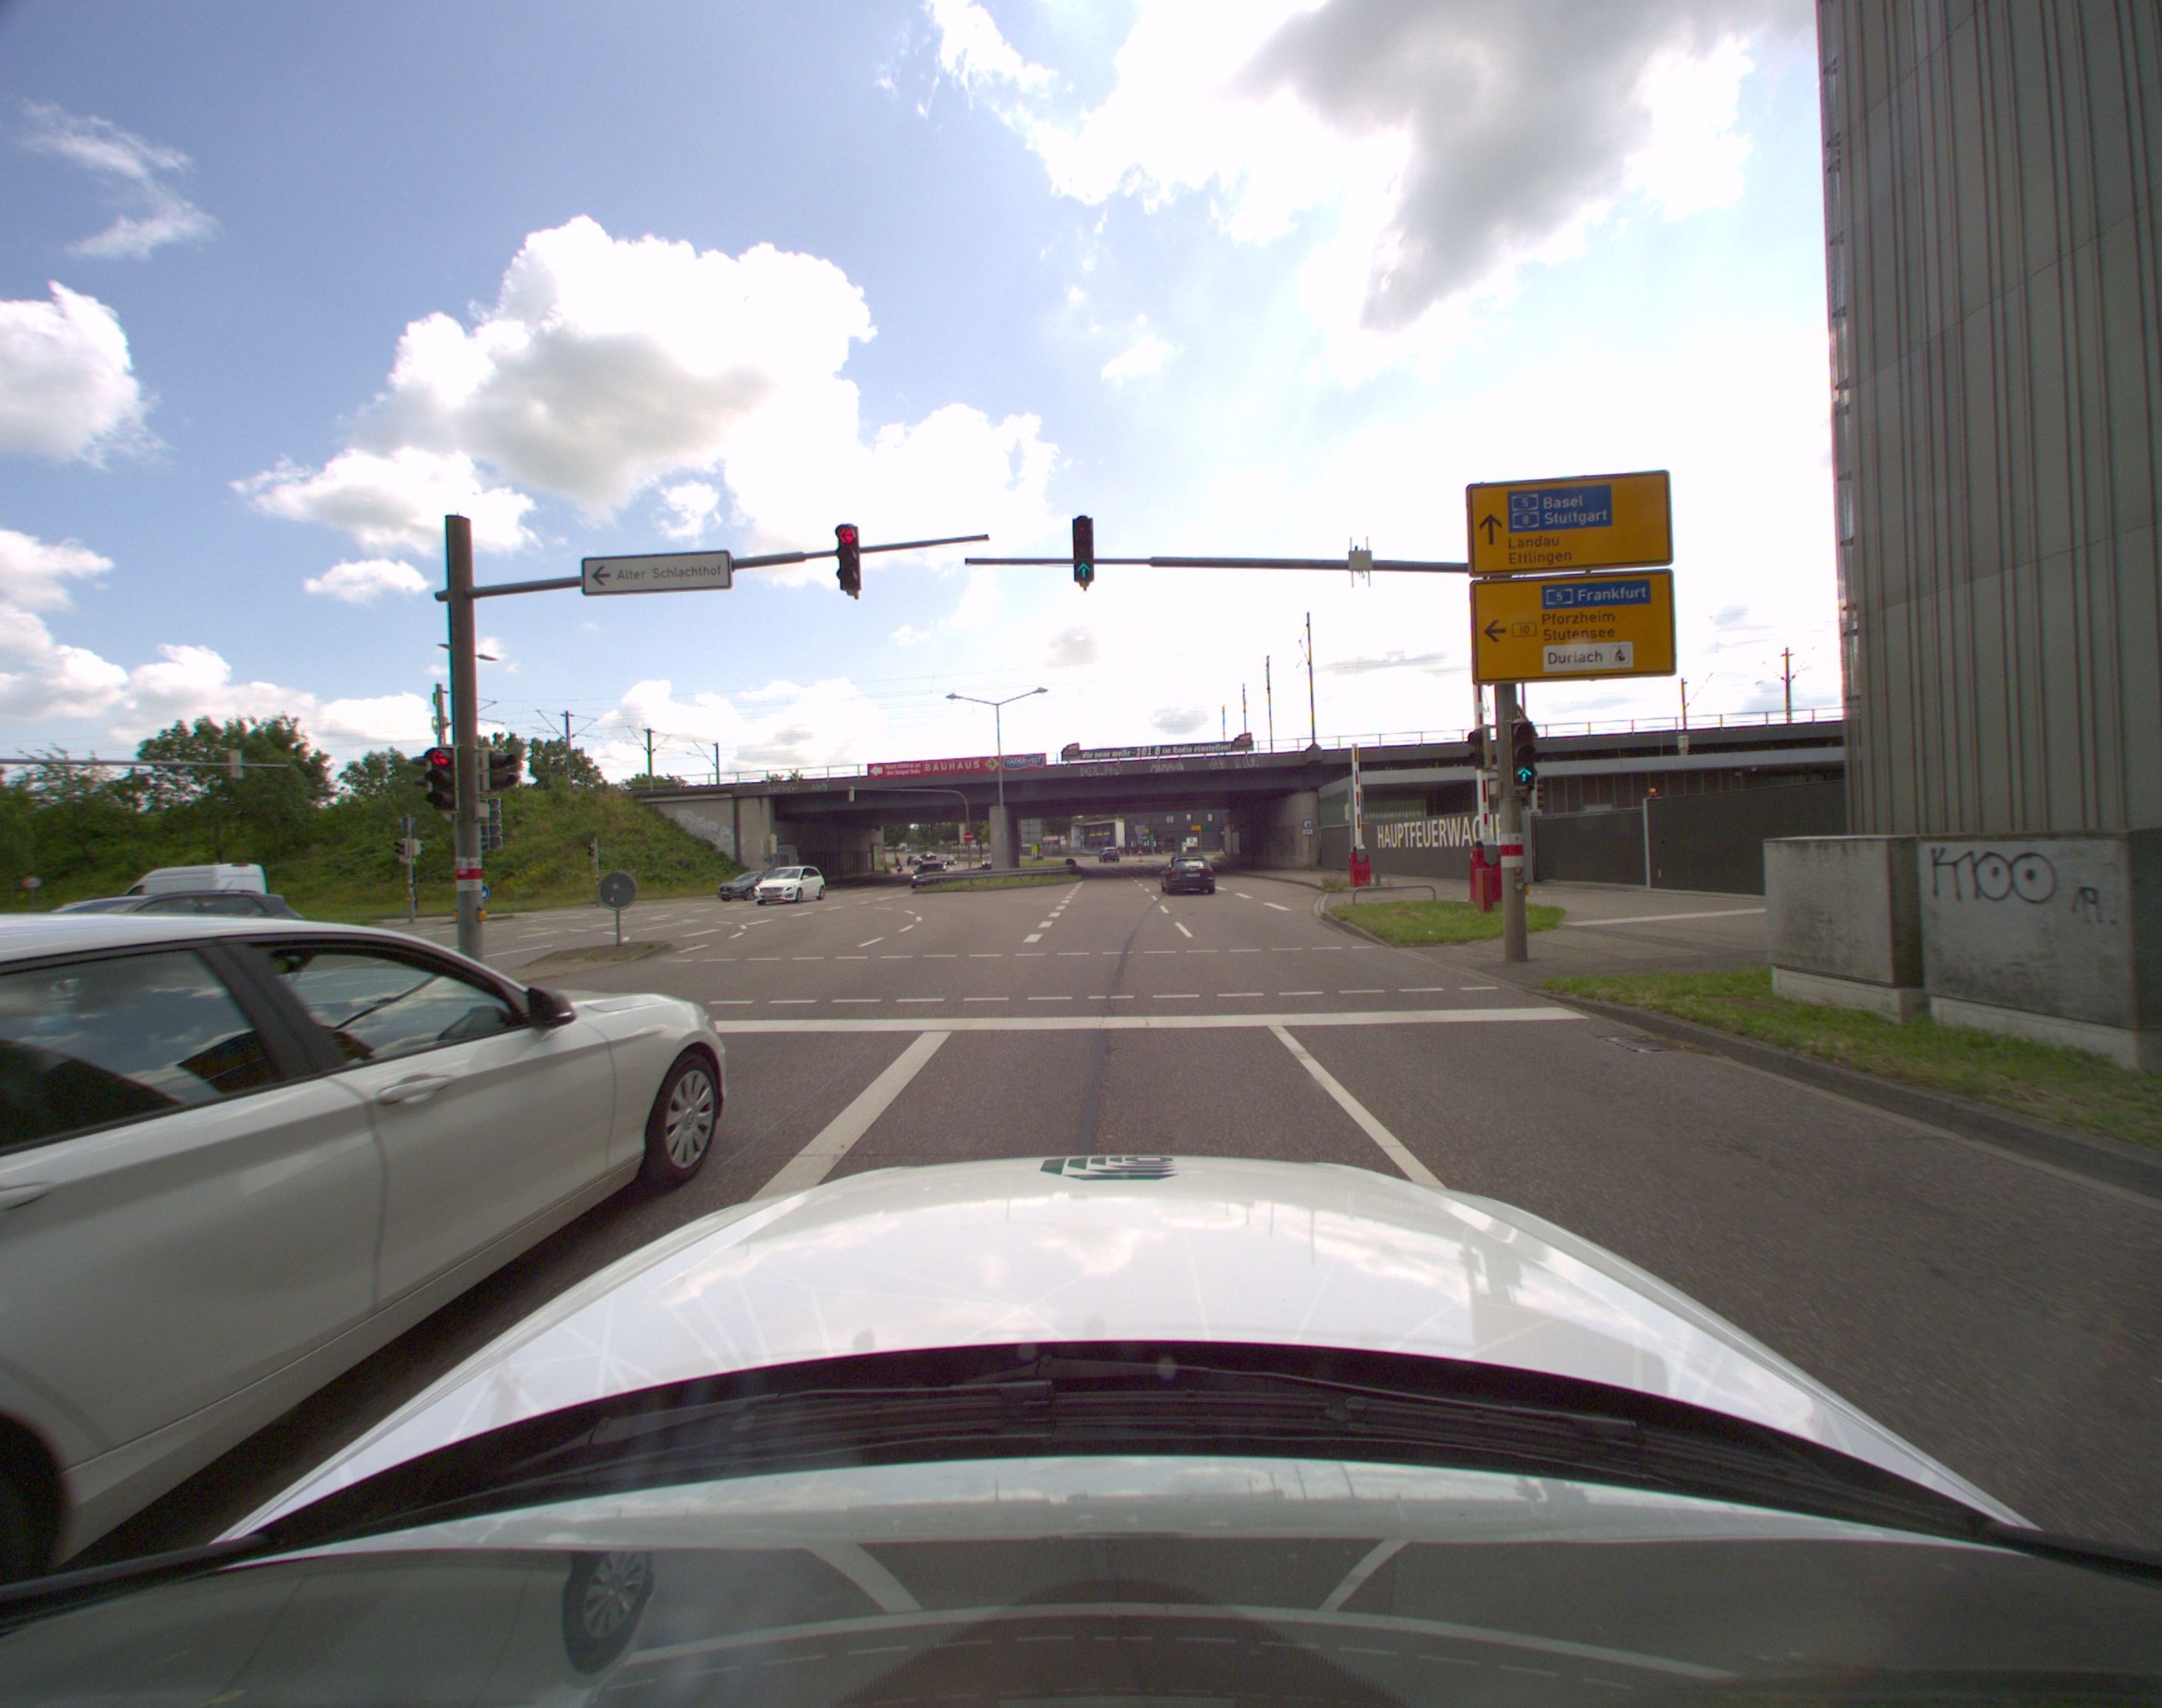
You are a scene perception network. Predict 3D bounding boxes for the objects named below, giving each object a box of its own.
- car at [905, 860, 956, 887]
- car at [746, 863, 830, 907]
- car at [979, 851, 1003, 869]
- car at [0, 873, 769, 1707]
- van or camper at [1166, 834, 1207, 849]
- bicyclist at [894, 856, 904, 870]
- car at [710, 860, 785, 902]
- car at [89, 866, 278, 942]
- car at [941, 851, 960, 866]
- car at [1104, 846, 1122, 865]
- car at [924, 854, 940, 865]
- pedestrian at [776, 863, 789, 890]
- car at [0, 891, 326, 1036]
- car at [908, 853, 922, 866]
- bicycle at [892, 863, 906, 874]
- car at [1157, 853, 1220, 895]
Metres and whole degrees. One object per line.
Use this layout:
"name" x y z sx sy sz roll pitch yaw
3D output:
"car" -9.139 1.165 49.733 1.966 1.389 4.783 -4 0 2
"car" -12.560 1.276 35.215 1.798 1.632 4.396 -3 0 3
"car" -9.694 0.632 88.351 1.987 1.758 4.716 -3 0 0
"car" -2.810 0.832 2.504 1.908 1.415 4.297 0 0 2
"van or camper" 15.677 -1.899 121.143 6.275 2.172 2.103 -1 0 -35
"bicyclist" -19.339 0.946 86.578 0.677 1.408 0.927 -1 0 9
"car" -17.708 1.384 43.417 1.984 2.013 4.005 -3 0 5
"car" -38.147 2.065 34.724 5.376 2.821 2.389 -3 0 2
"car" -19.747 0.672 123.521 1.987 2.013 4.337 -3 0 1
"car" 3.677 0.177 93.107 1.986 2.037 4.716 -3 0 2
"car" -27.481 0.985 150.161 1.987 2.013 4.337 -3 0 1
"pedestrian" -19.791 1.488 53.983 0.589 1.681 0.556 -3 0 -1
"car" -13.515 1.390 11.402 1.916 1.529 4.006 -1 0 6
"car" -27.181 0.907 133.458 1.994 2.013 4.321 -3 0 -11
"bicycle" -19.321 1.534 86.584 0.676 1.142 2.289 -1 0 9
"car" 4.075 0.717 31.581 1.986 1.390 4.578 -1 1 2
